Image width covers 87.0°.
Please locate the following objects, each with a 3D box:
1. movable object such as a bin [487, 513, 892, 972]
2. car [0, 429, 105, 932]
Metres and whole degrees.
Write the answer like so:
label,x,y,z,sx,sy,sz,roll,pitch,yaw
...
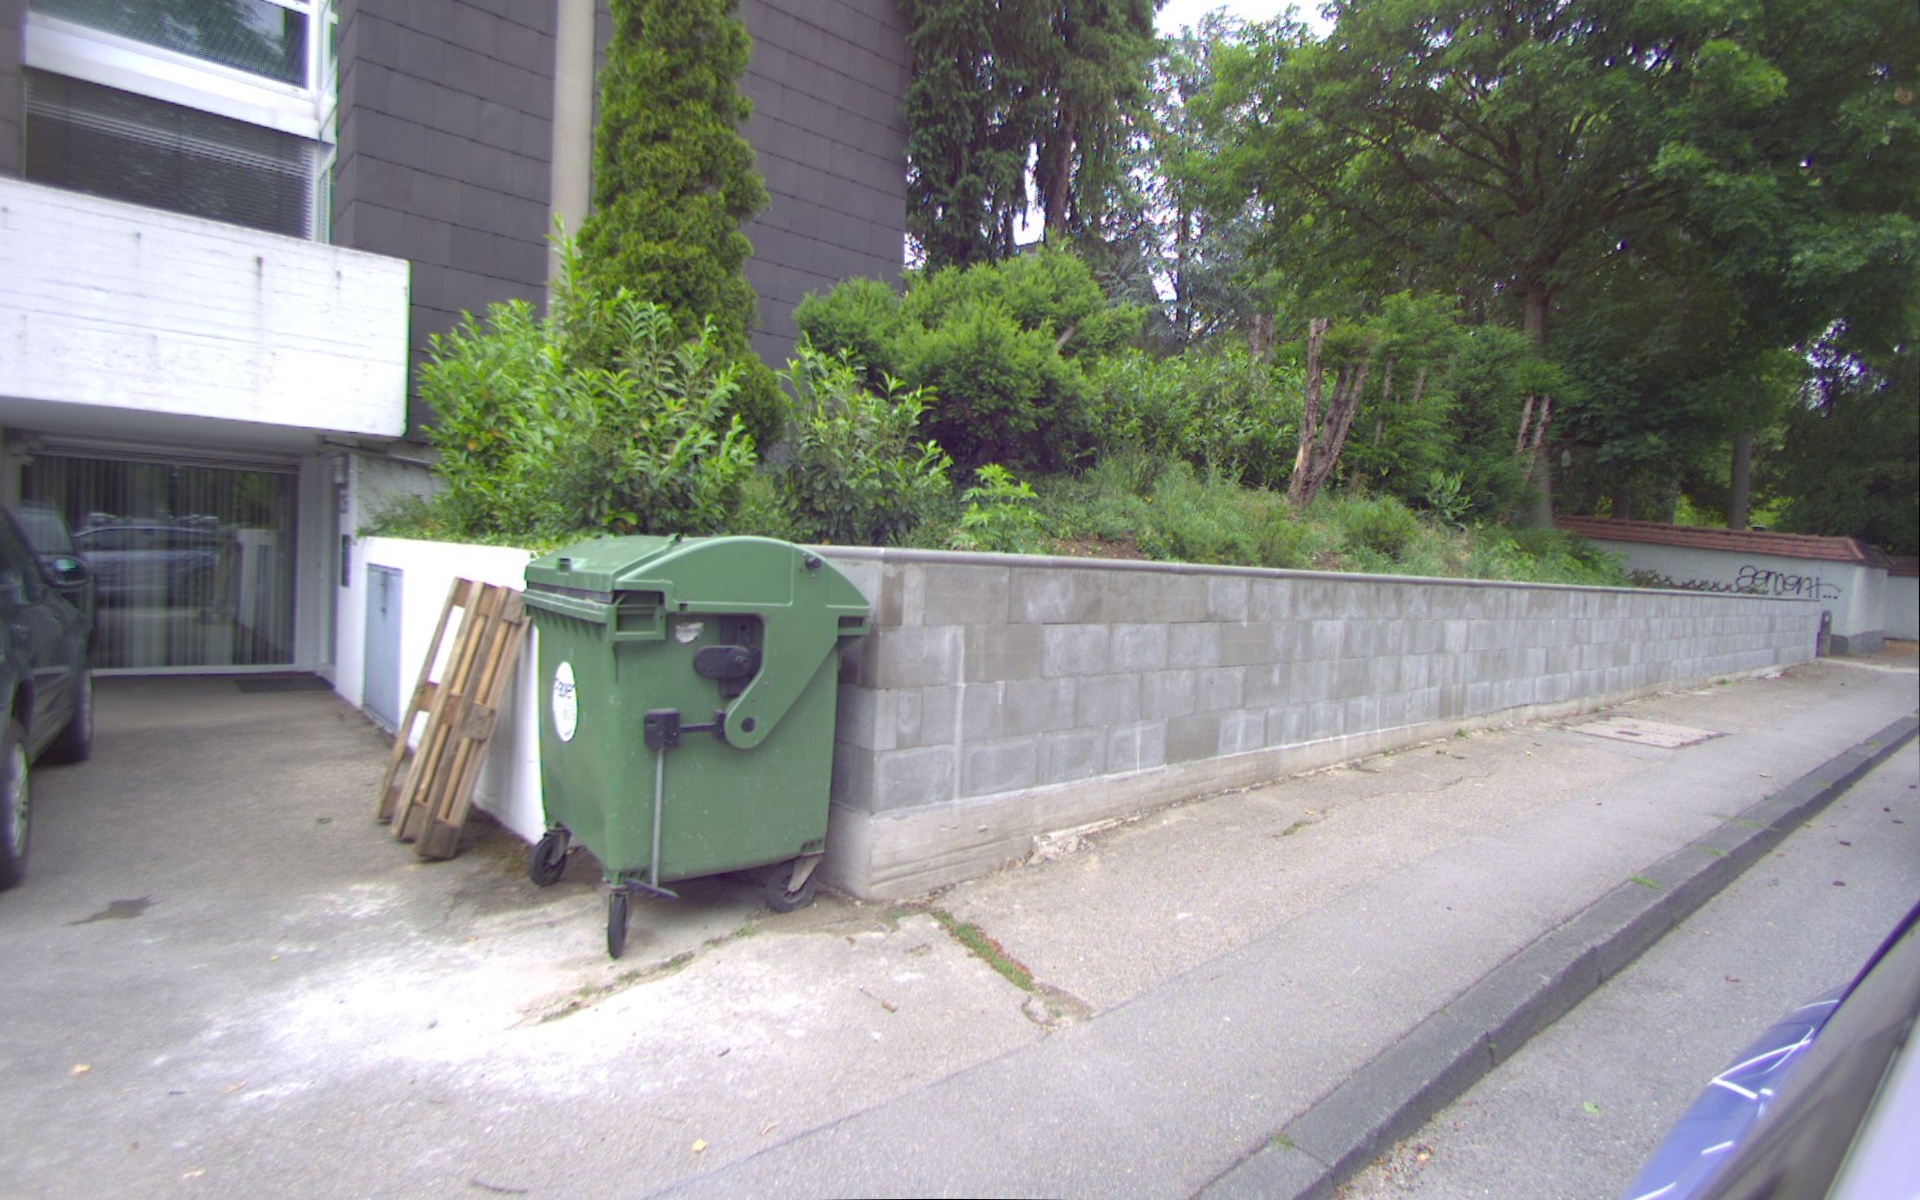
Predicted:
label,x,y,z,sx,sy,sz,roll,pitch,yaw
movable object such as a bin,-1.145,0.417,4.122,1.096,1.469,1.407,0,3,-40
car,-5.010,0.151,4.396,1.712,1.671,3.914,0,4,-36
